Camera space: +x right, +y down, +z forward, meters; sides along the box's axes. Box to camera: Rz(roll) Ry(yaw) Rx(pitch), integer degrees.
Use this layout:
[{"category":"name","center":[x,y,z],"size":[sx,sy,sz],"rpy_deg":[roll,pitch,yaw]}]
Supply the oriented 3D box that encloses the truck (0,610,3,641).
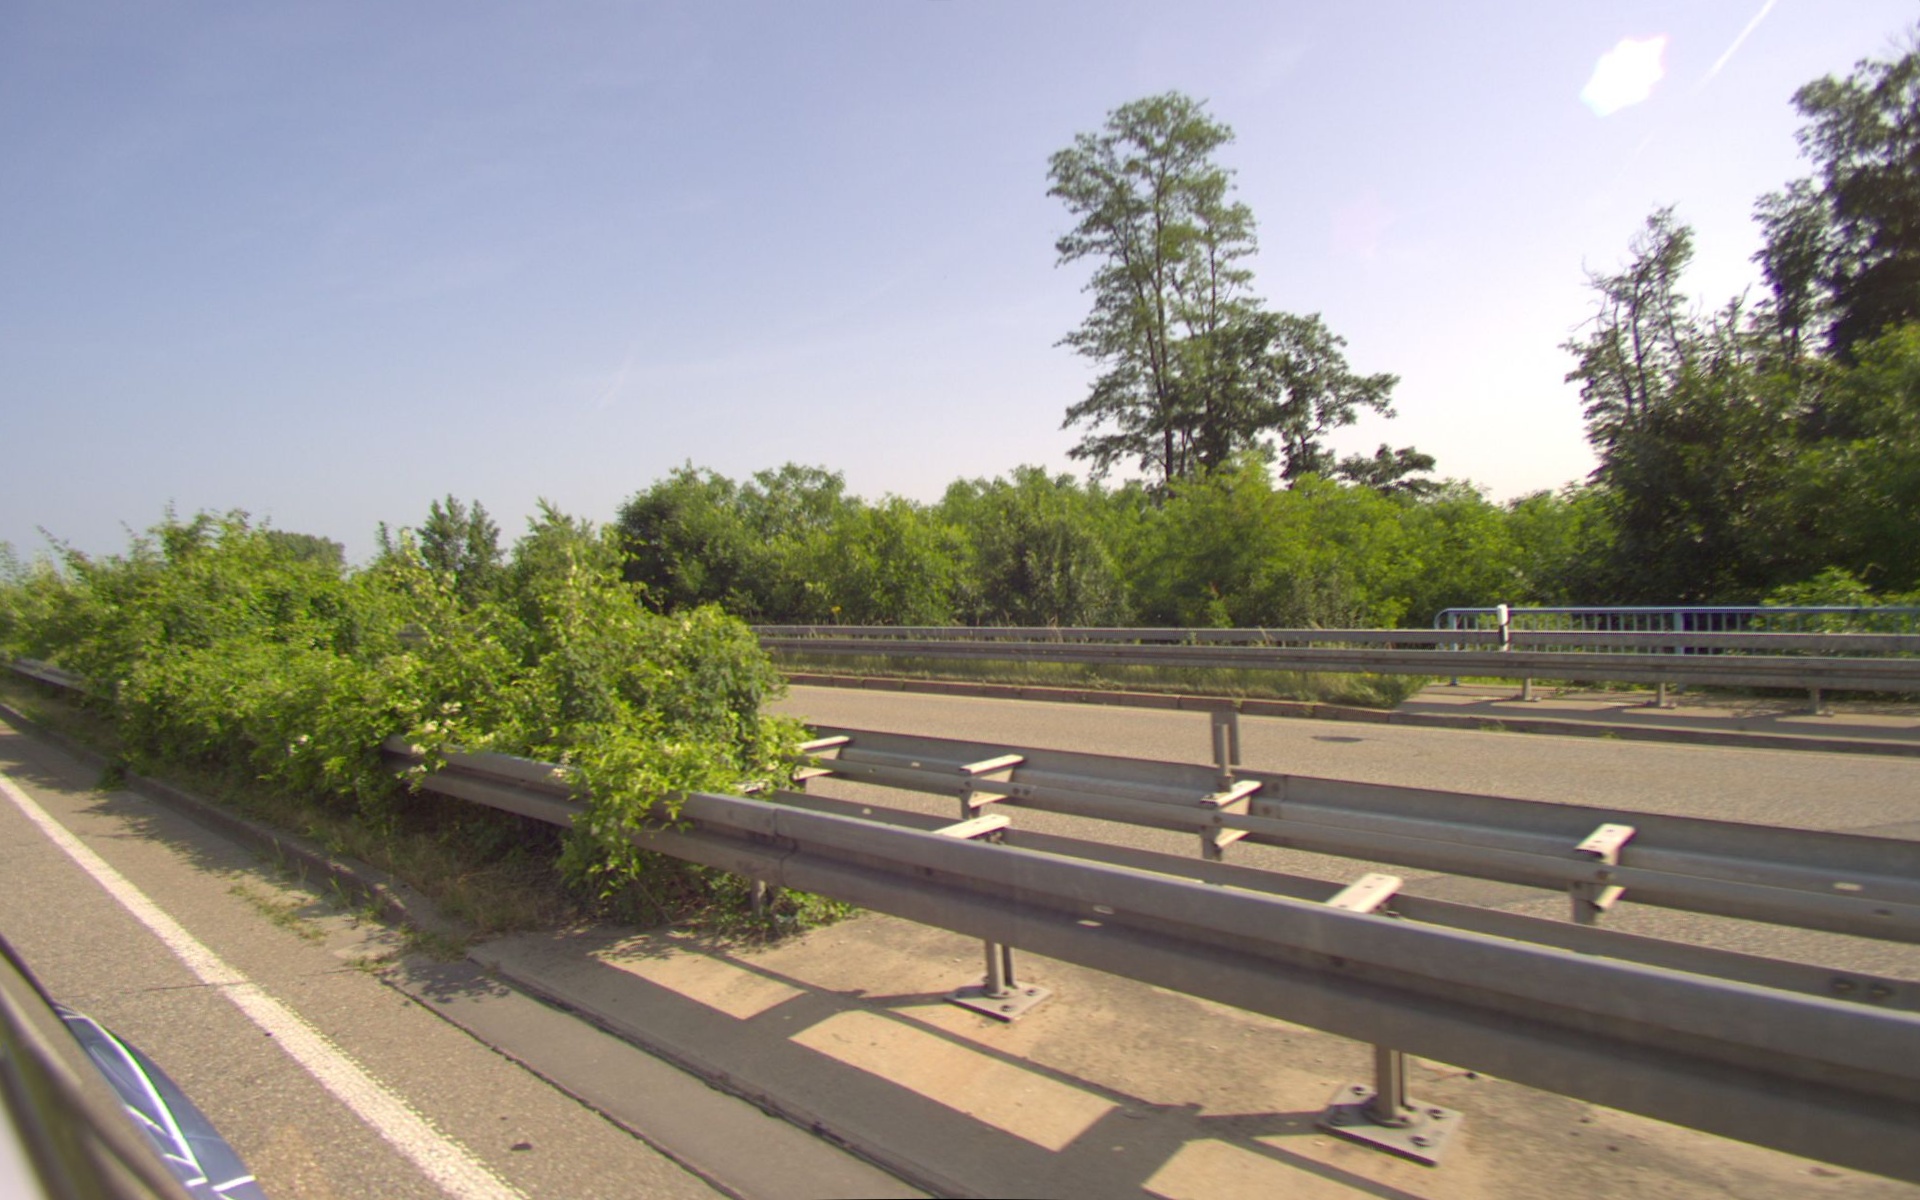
[{"category":"truck","center":[-125.120,3.341,129.104],"size":[2.733,3.991,5.646],"rpy_deg":[-1,0,-26]}]
